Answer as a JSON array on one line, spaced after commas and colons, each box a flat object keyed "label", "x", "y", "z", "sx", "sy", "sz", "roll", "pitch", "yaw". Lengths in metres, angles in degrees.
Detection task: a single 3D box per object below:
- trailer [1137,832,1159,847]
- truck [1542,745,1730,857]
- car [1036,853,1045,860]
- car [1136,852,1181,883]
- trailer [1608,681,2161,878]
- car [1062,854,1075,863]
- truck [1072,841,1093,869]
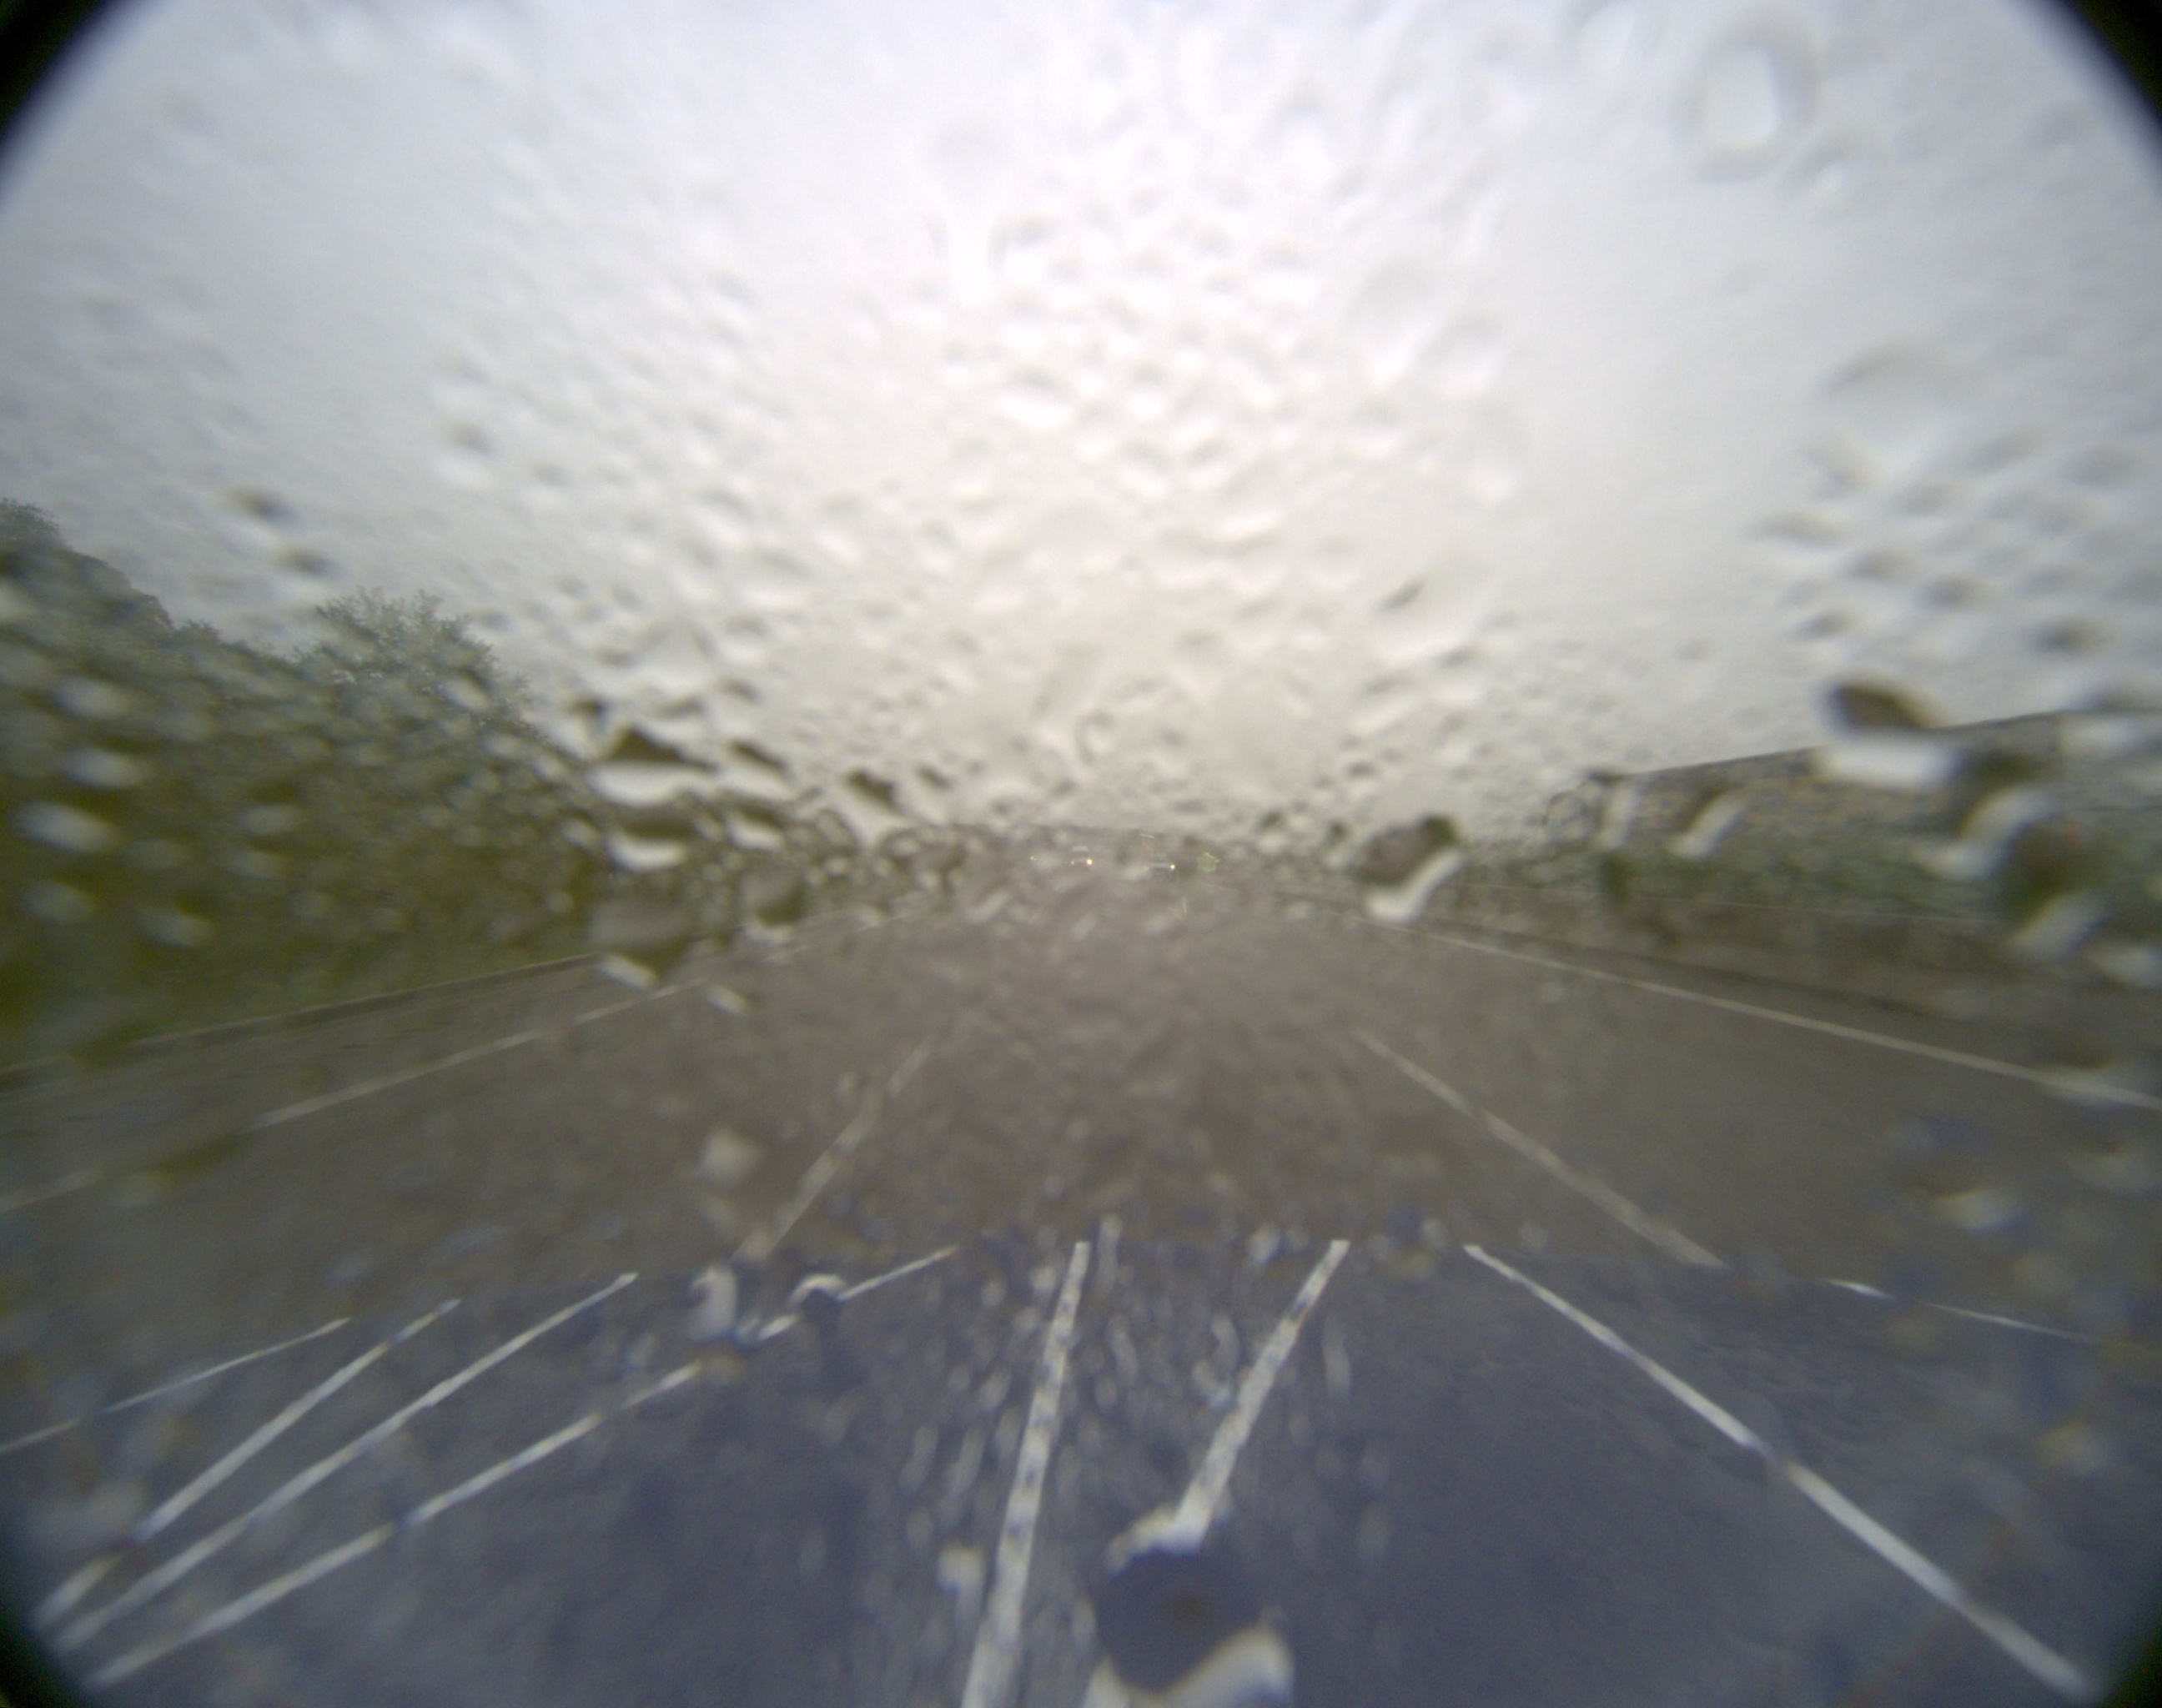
[{"label": "trailer", "x": 15.278, "y": -3.467, "z": 174.562, "sx": 2.996, "sy": 3.126, "sz": 15.711, "roll": -2, "pitch": 2, "yaw": -2}, {"label": "truck", "x": 20.039, "y": -1.822, "z": 27.901, "sx": 2.956, "sy": 3.602, "sz": 5.462, "roll": -2, "pitch": 2, "yaw": 1}, {"label": "car", "x": -10.432, "y": 0.655, "z": 195.952, "sx": 1.999, "sy": 1.543, "sz": 3.998, "roll": -2, "pitch": 0, "yaw": -4}, {"label": "car", "x": 4.372, "y": 0.754, "z": 43.292, "sx": 1.999, "sy": 1.608, "sz": 3.999, "roll": -1, "pitch": 1, "yaw": -2}, {"label": "trailer", "x": 19.997, "y": -1.594, "z": 20.459, "sx": 2.999, "sy": 3.619, "sz": 12.486, "roll": -2, "pitch": 2, "yaw": 0}, {"label": "car", "x": -2.134, "y": 0.746, "z": 126.915, "sx": 1.999, "sy": 1.521, "sz": 3.998, "roll": -1, "pitch": 1, "yaw": -3}, {"label": "truck", "x": 0.179, "y": 0.030, "z": 79.970, "sx": 1.998, "sy": 2.699, "sz": 7.997, "roll": -2, "pitch": 2, "yaw": 0}]
